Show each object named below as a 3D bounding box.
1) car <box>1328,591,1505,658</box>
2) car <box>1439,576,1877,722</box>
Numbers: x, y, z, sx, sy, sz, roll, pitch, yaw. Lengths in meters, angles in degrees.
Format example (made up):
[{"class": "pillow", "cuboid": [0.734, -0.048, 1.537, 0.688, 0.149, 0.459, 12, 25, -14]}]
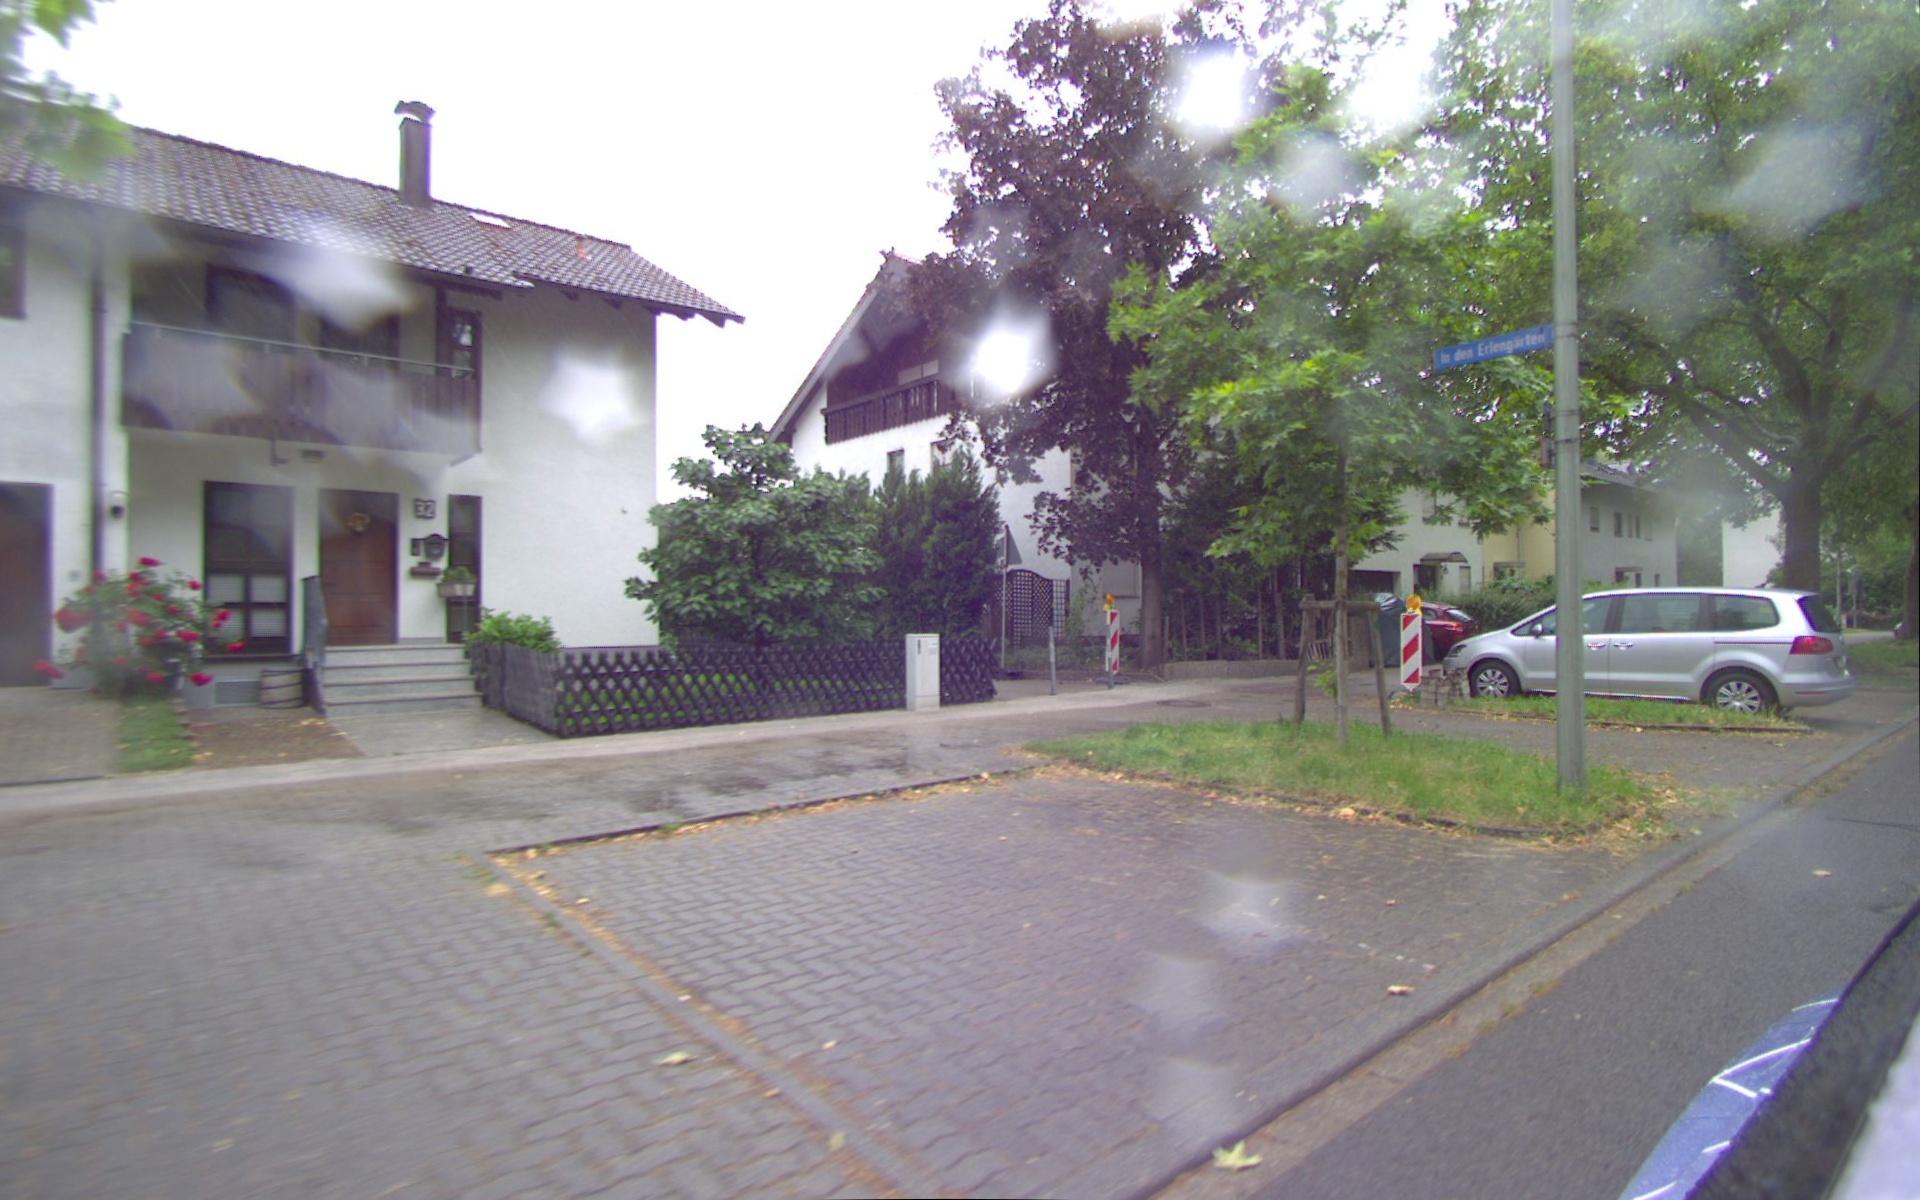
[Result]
[{"class": "car", "cuboid": [11.862, 0.596, 26.490, 1.809, 1.633, 3.853, 0, 0, -38]}, {"class": "car", "cuboid": [9.453, 0.567, 14.054, 1.942, 1.682, 4.695, 0, 0, -42]}]
